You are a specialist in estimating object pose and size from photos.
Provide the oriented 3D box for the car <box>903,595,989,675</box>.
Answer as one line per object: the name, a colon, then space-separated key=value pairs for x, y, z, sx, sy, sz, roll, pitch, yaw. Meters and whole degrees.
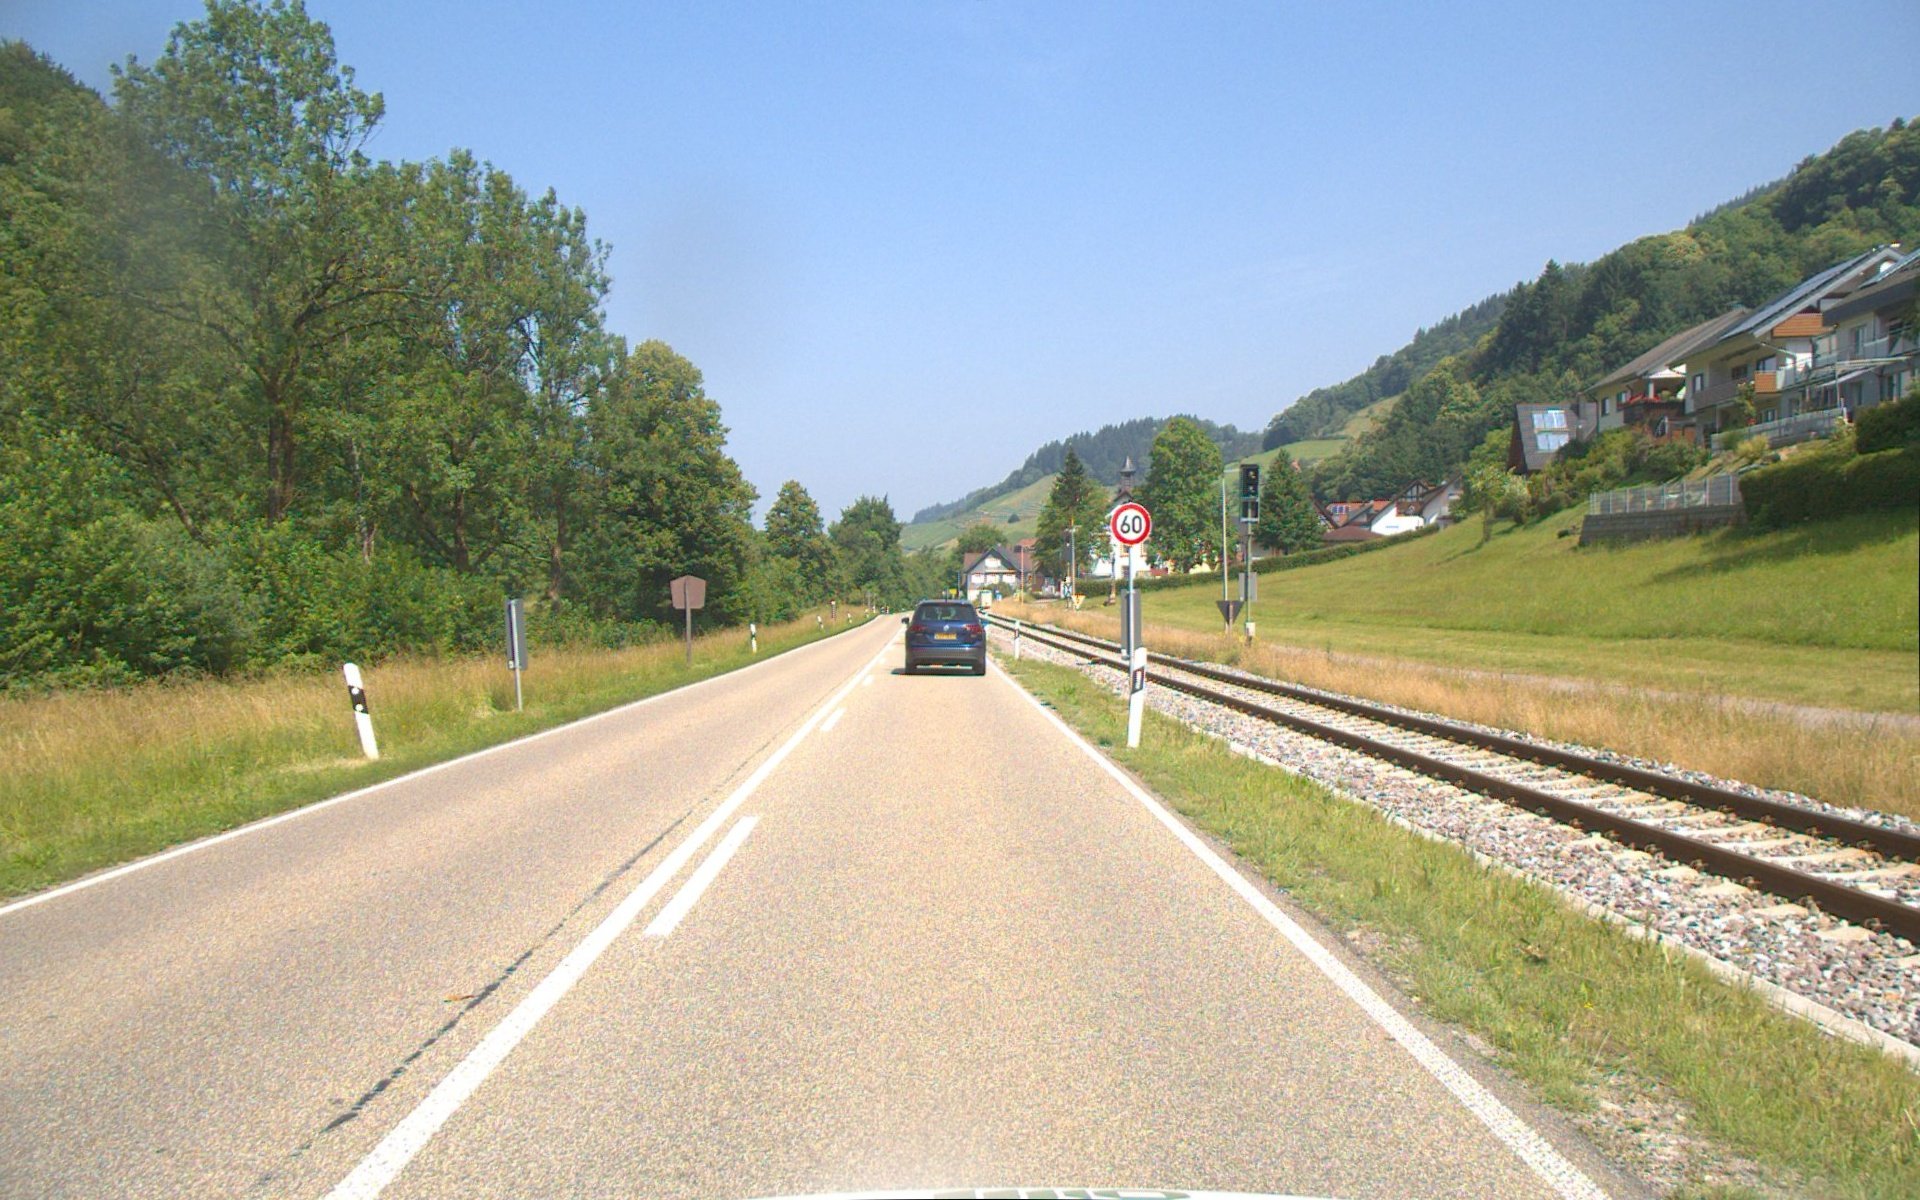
car: x=-0.268 y=0.745 z=37.279 sx=1.814 sy=1.678 sz=4.140 roll=0 pitch=0 yaw=1
